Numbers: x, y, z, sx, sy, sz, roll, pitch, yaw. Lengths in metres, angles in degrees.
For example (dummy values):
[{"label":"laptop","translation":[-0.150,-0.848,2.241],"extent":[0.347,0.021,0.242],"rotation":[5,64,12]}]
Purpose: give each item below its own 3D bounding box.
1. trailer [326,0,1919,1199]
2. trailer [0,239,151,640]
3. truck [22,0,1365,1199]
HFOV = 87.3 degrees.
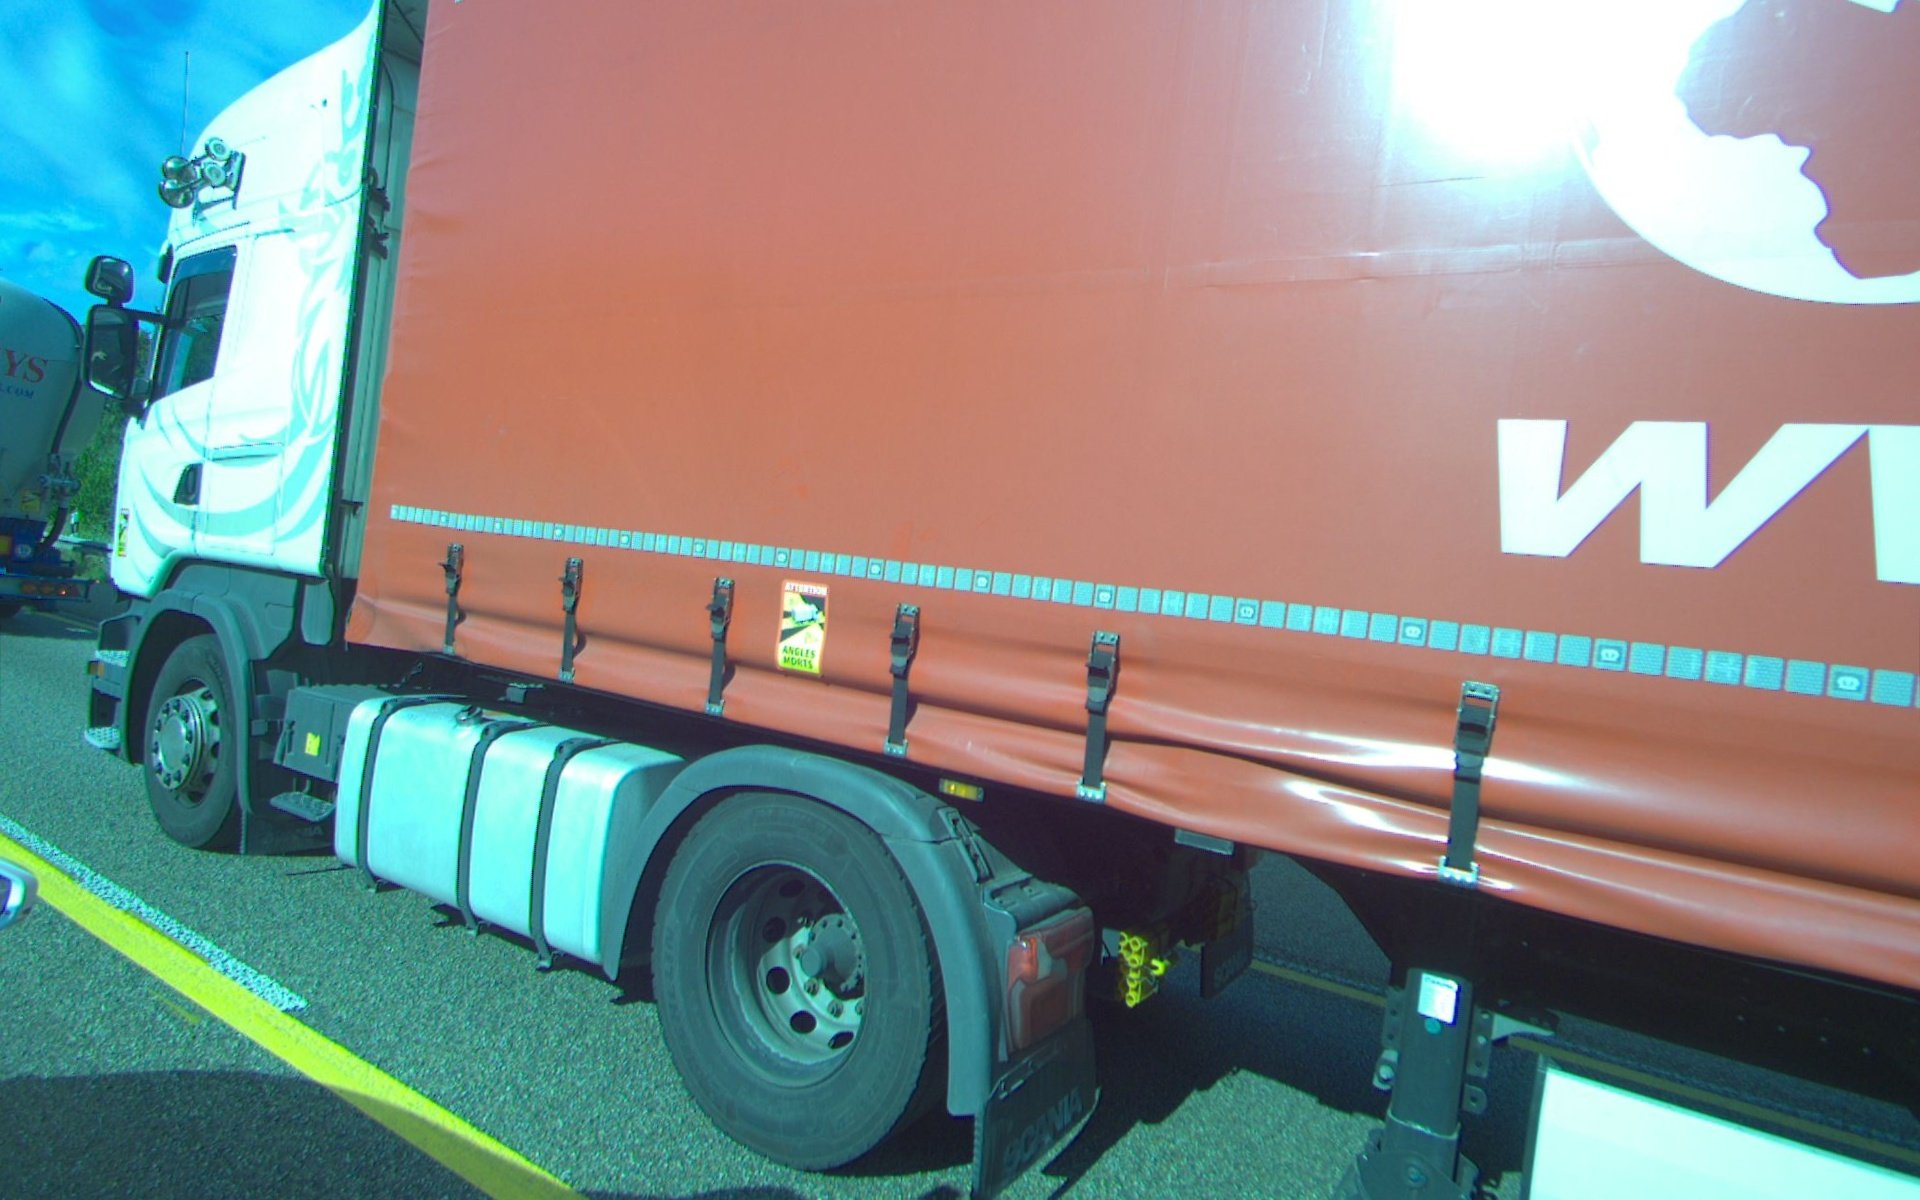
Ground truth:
[{"label":"trailer","translation":[4.316,0.134,1.324],"extent":[13.192,4.015,2.705],"rotation":[7,-1,31]},{"label":"trailer","translation":[-15.222,-2.281,13.344],"extent":[12.388,3.989,2.649],"rotation":[7,-1,32]},{"label":"truck","translation":[-1.470,-0.557,4.851],"extent":[5.614,4.006,2.673],"rotation":[7,-1,31]}]
